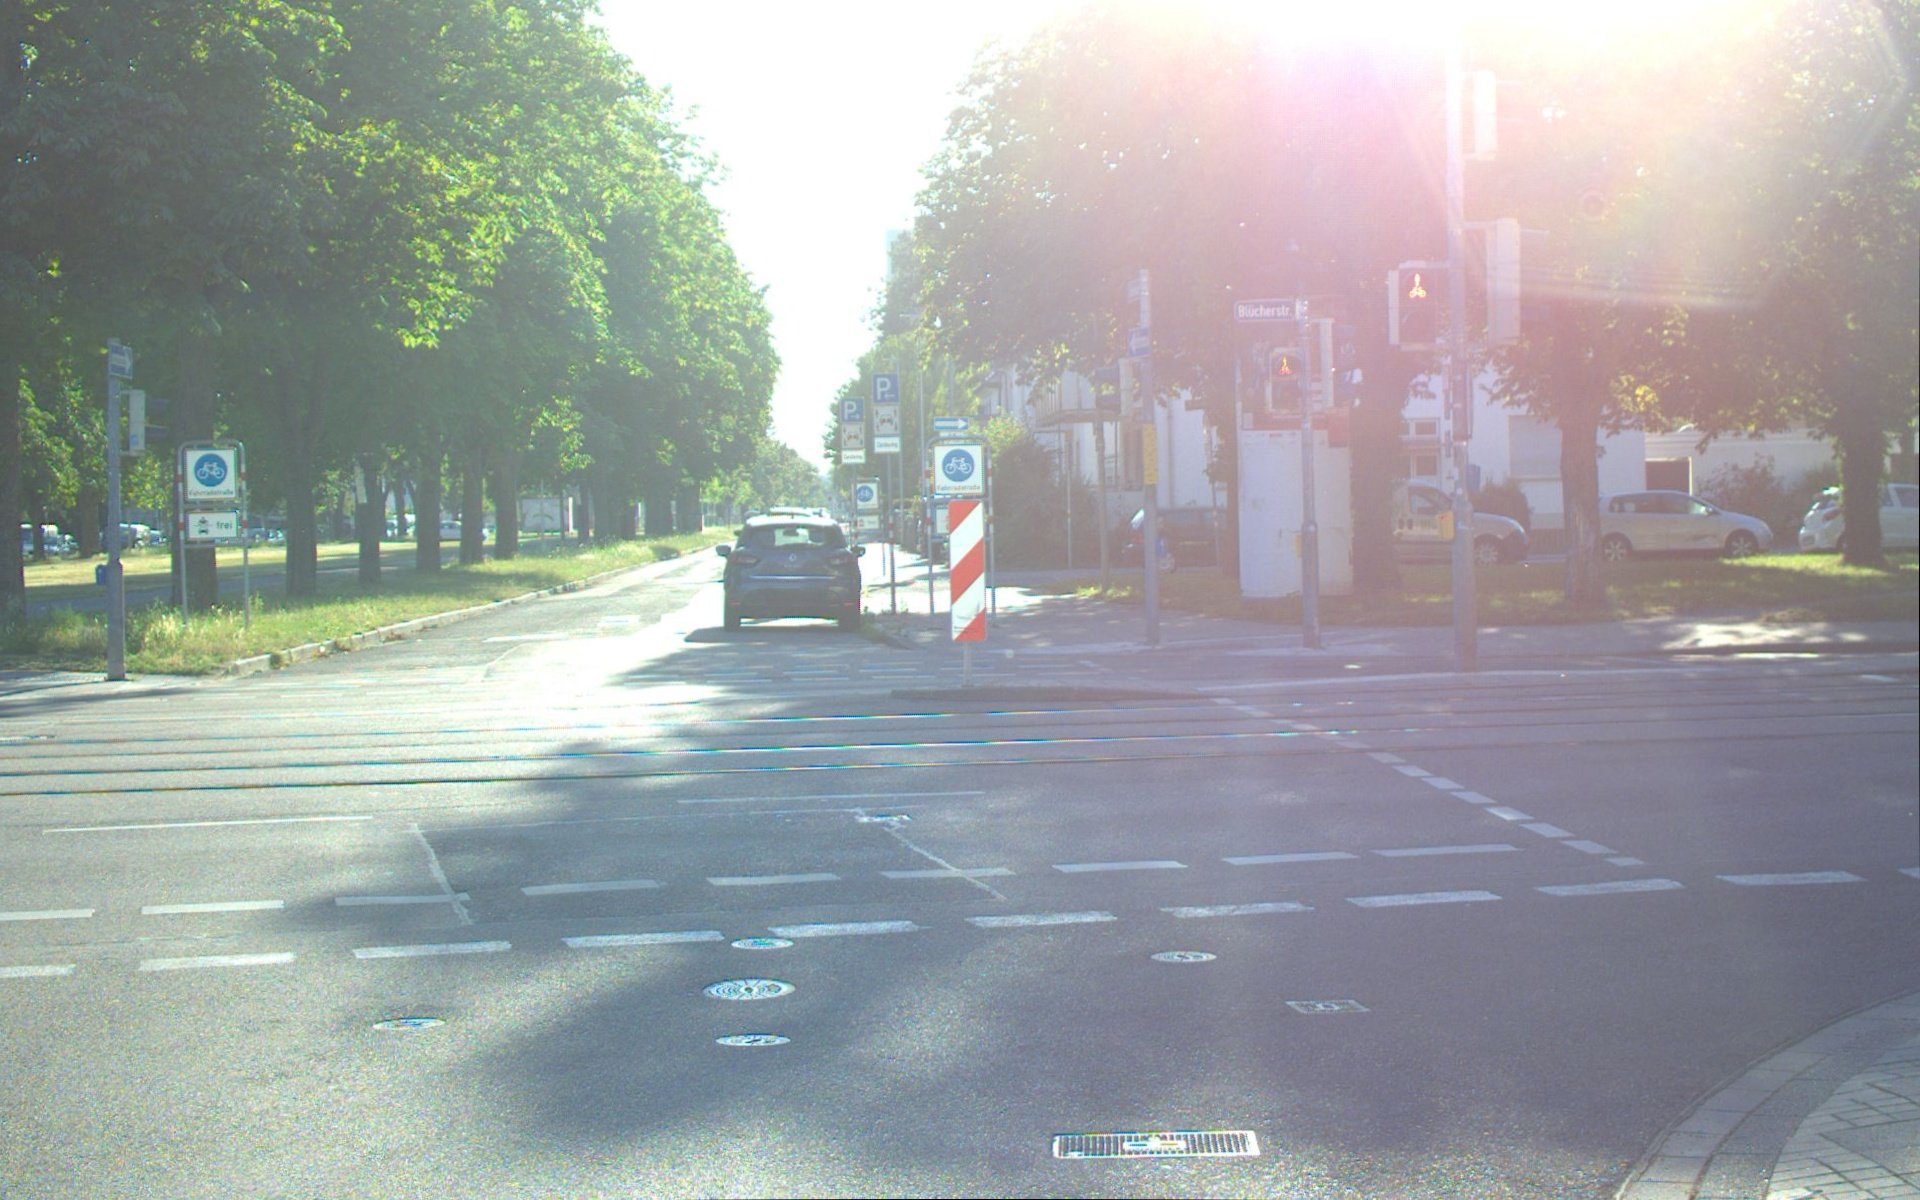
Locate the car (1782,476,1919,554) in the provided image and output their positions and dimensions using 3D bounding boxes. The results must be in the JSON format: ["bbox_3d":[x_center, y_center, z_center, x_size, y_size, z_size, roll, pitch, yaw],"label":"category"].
[{"bbox_3d":[17.928,-1.649,66.013,3.844,1.422,1.598,-1,1,-6],"label":"car"}]

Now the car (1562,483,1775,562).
[{"bbox_3d":[13.428,-1.473,65.242,3.662,1.422,1.532,-1,1,-6],"label":"car"}]

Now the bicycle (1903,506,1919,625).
[{"bbox_3d":[10.082,-0.353,32.843,1.954,1.128,0.620,-1,1,1],"label":"bicycle"}]

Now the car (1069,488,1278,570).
[{"bbox_3d":[4.017,-1.350,64.973,3.779,1.422,1.744,-1,3,-2],"label":"car"}]

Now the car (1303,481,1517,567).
[{"bbox_3d":[8.523,-1.458,65.298,3.779,1.520,1.744,-1,3,-2],"label":"car"}]

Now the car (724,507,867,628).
[{"bbox_3d":[-2.066,-0.441,43.872,1.641,1.446,3.307,-1,2,0],"label":"car"}]

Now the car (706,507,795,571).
[{"bbox_3d":[-4.721,-1.405,77.794,1.845,1.389,3.829,-1,2,-1],"label":"car"}]
